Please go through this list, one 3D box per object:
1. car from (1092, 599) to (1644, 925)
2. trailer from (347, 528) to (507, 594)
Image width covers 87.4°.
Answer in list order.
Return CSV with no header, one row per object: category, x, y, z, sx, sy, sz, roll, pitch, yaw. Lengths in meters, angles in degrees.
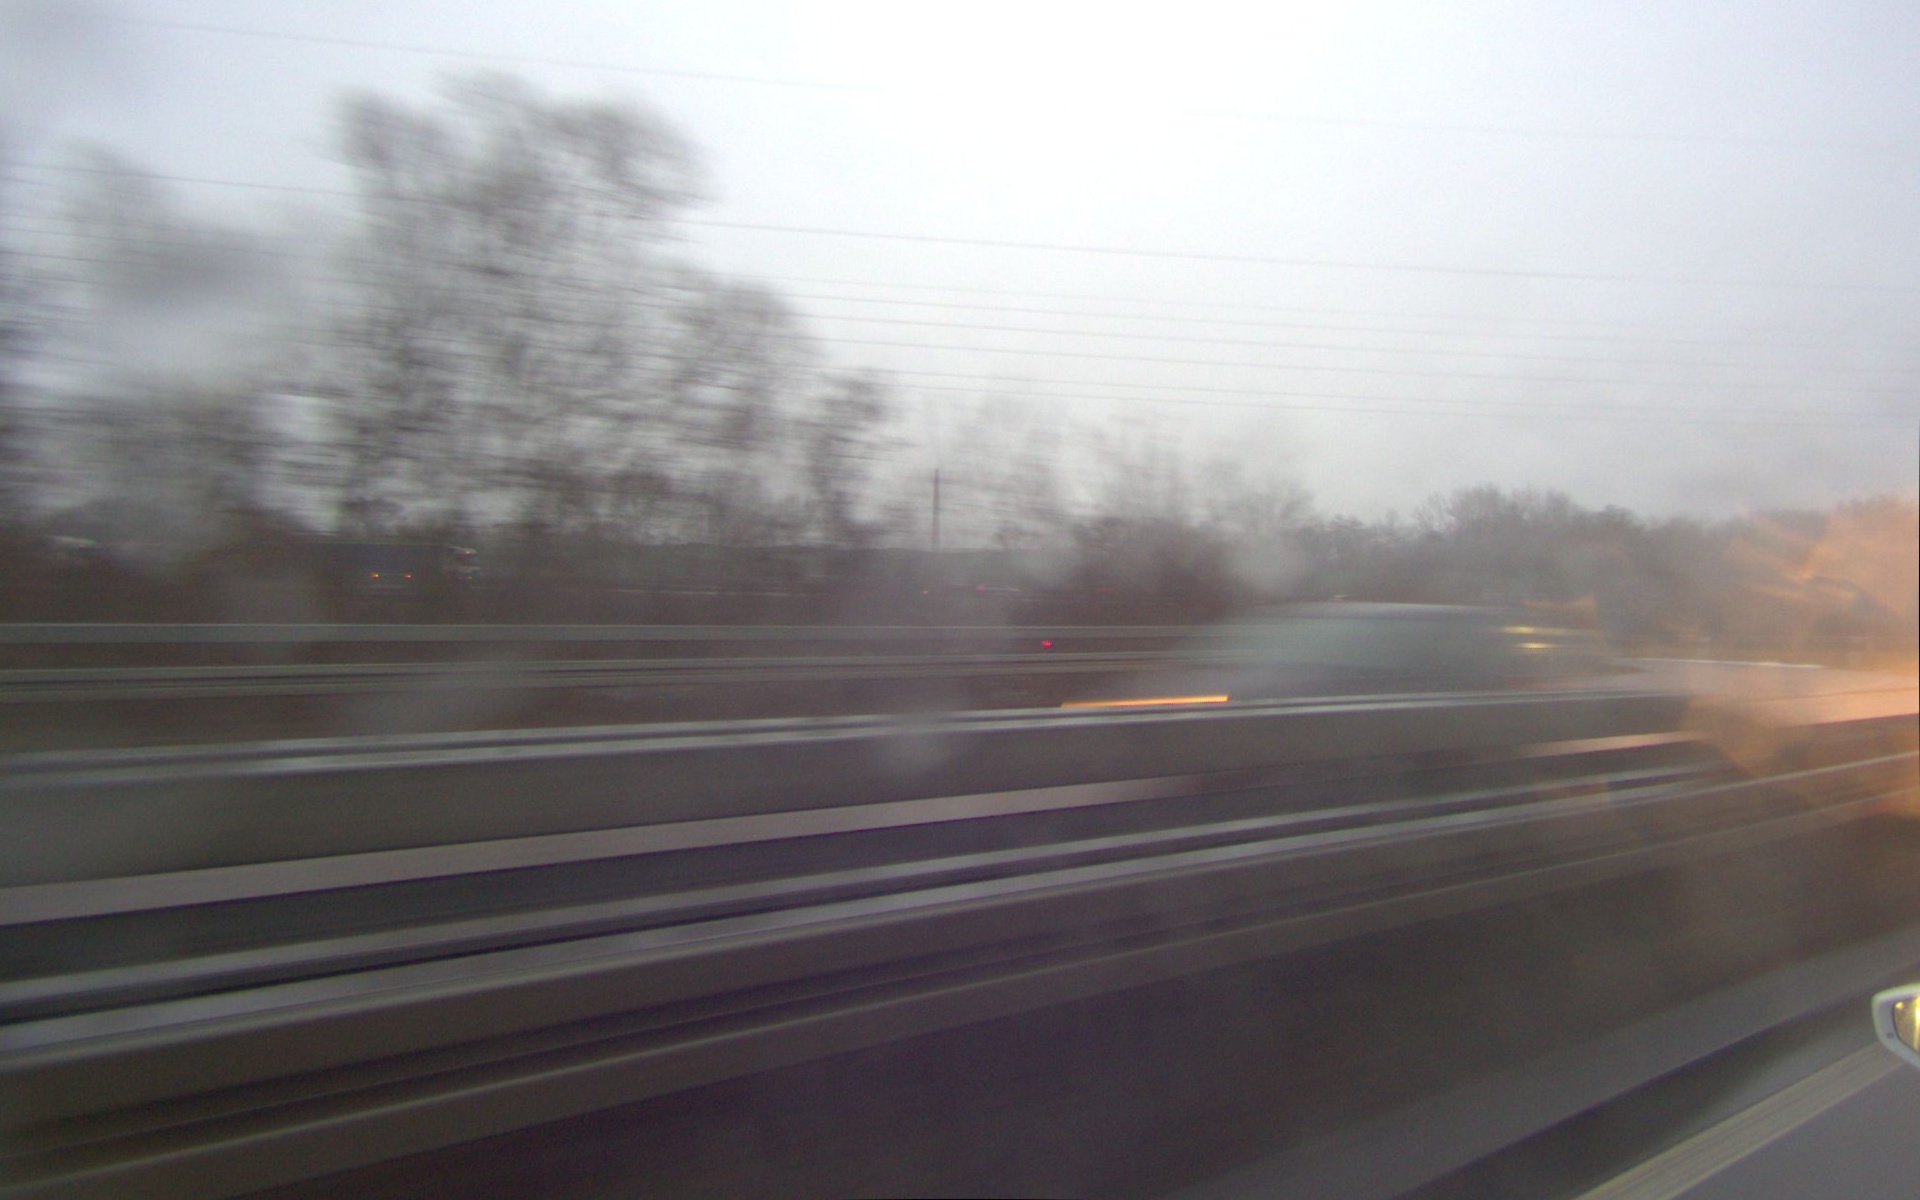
car,3.726,1.133,8.837,4.947,2.041,1.981,2,3,-34
trailer,-50.174,-3.643,94.823,12.976,5.171,3.311,4,2,-3
